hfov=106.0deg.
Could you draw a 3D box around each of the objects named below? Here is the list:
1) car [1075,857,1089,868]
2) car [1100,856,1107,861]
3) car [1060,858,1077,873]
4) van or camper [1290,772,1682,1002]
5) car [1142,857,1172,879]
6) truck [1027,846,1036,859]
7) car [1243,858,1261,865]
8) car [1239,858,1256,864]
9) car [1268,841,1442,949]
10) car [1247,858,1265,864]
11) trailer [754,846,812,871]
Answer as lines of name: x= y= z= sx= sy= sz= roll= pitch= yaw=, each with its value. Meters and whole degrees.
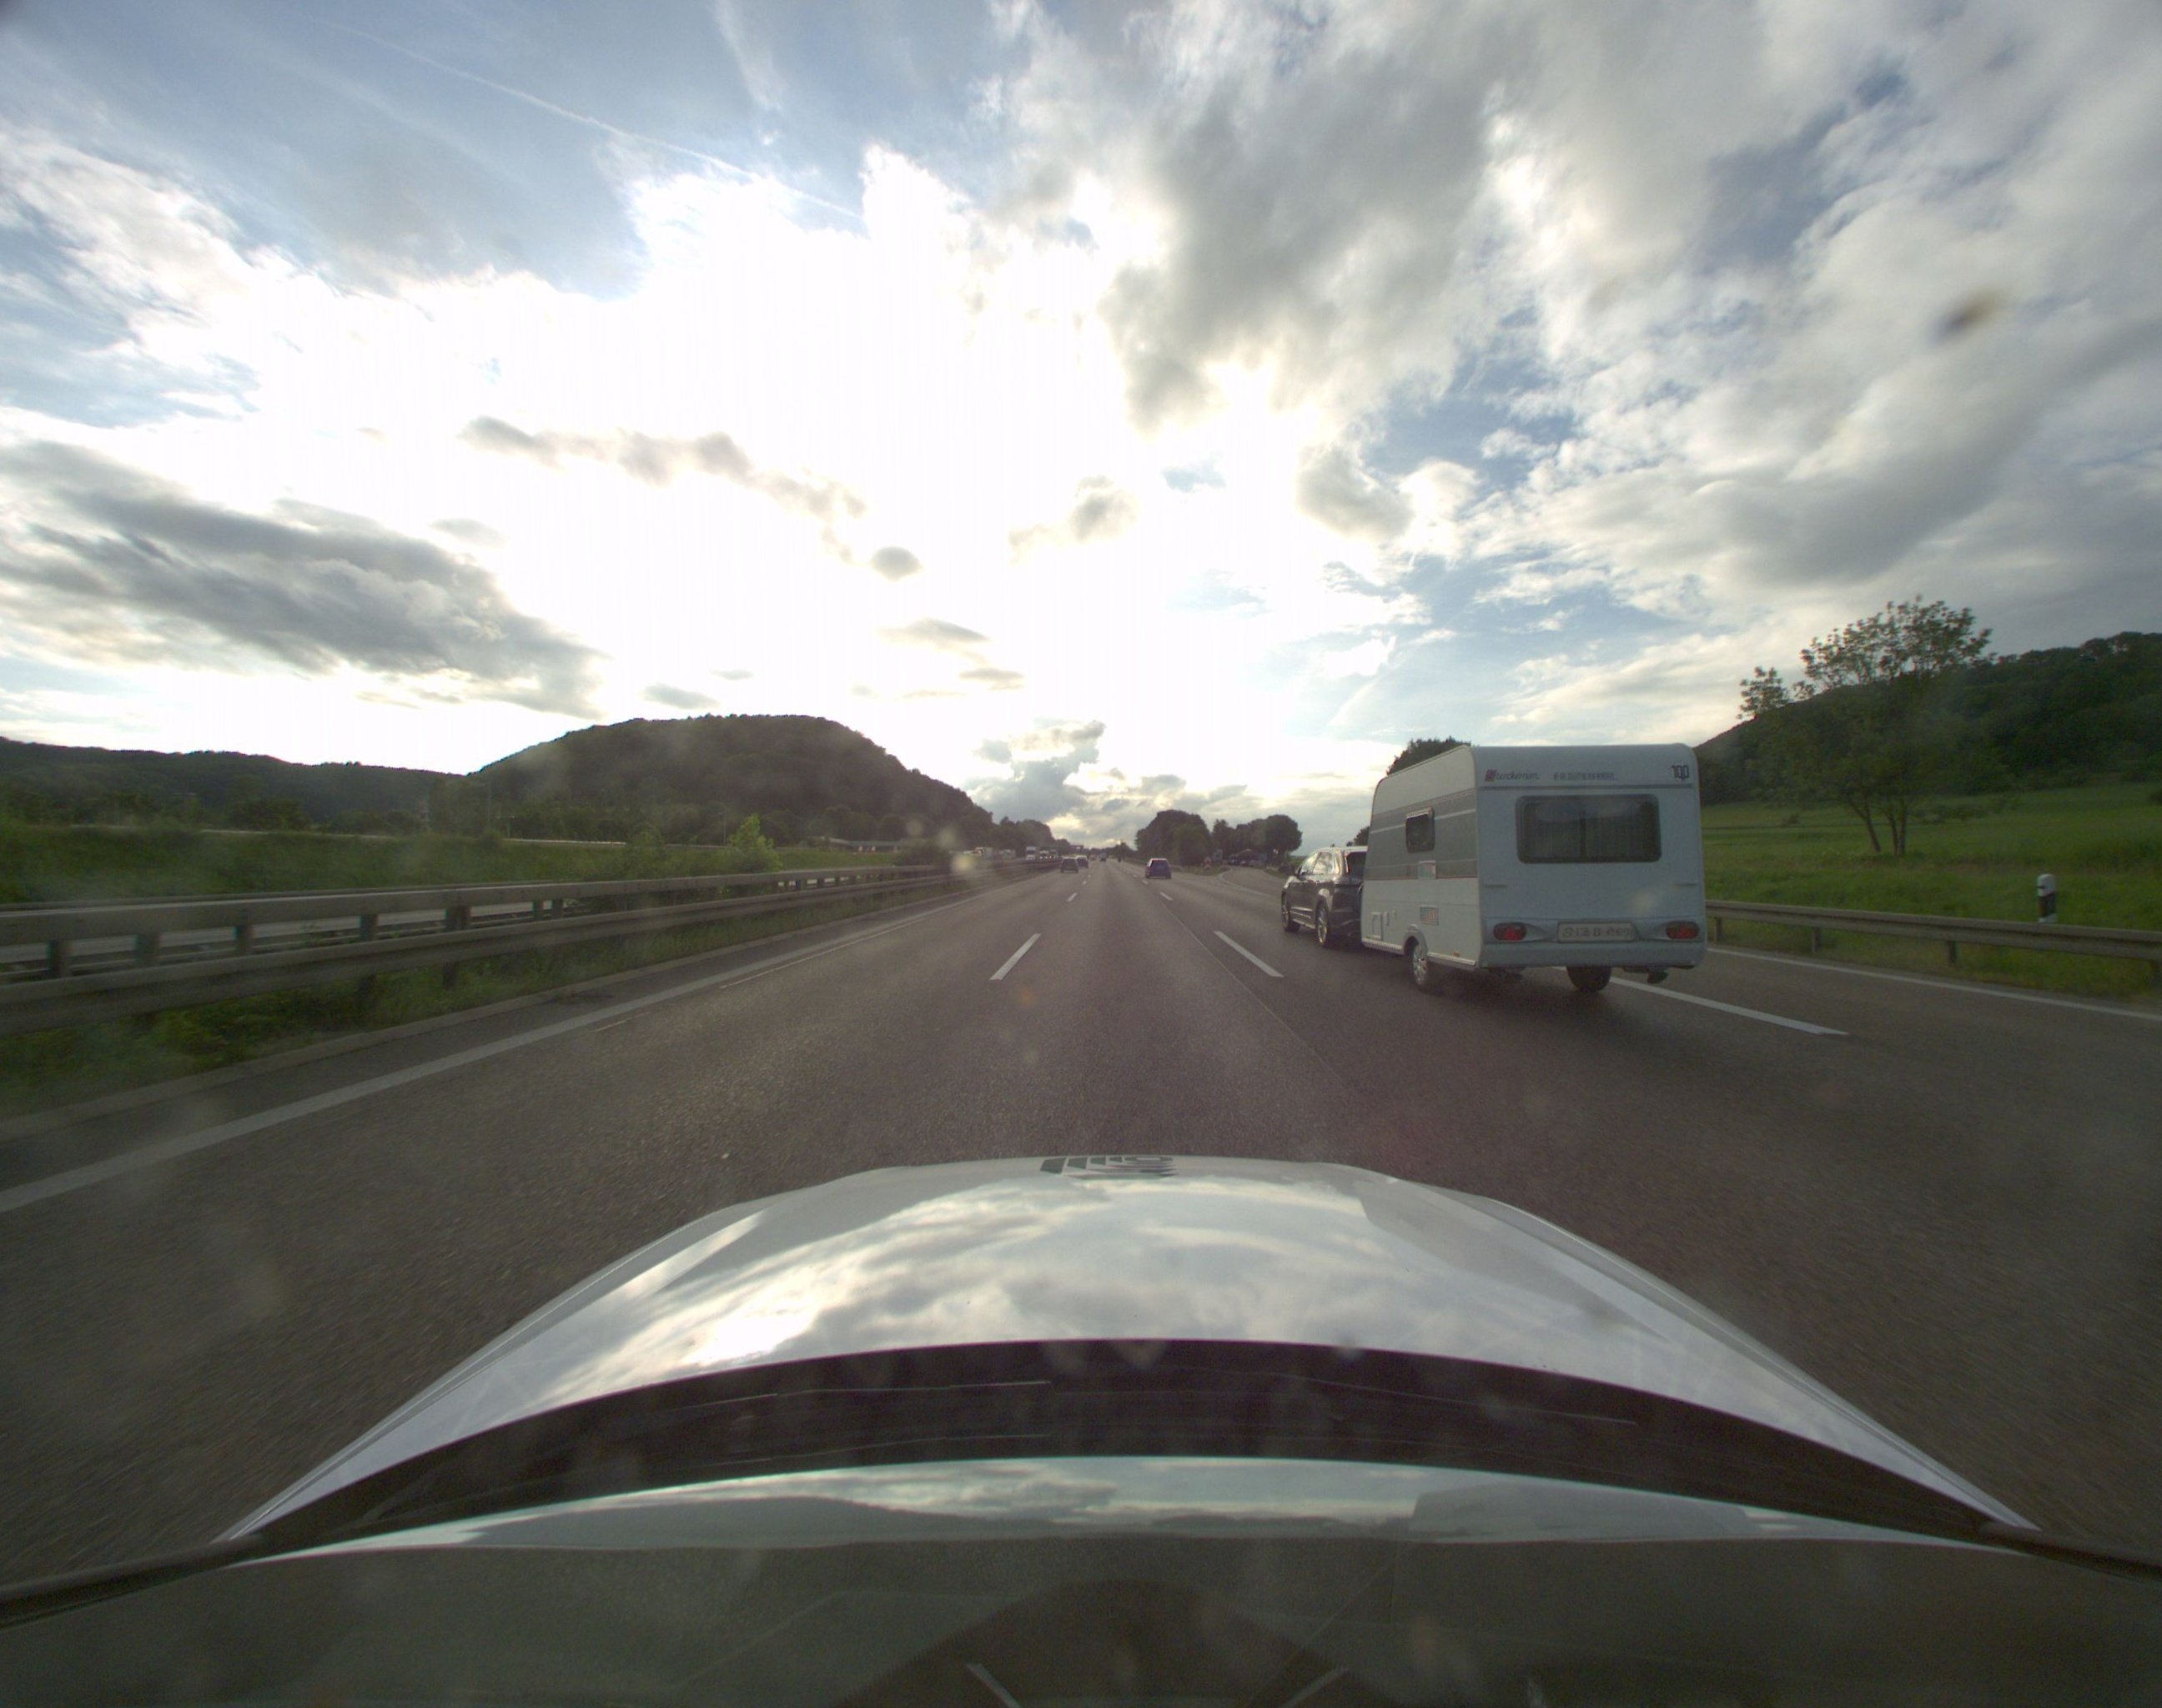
car: x=0.189 y=1.154 z=112.958 sx=1.558 sy=1.380 sz=4.005 roll=-3 pitch=0 yaw=4
car: x=6.627 y=1.250 z=236.474 sx=1.747 sy=1.222 sz=3.996 roll=-3 pitch=0 yaw=-3
car: x=-1.241 y=1.058 z=78.298 sx=1.534 sy=1.348 sz=3.674 roll=-3 pitch=0 yaw=-2
van or camper: x=4.750 y=0.324 z=10.830 sx=2.539 sy=2.239 sz=5.328 roll=-2 pitch=0 yaw=0
car: x=5.428 y=1.001 z=58.438 sx=1.761 sy=1.433 sz=4.000 roll=-2 pitch=0 yaw=1
truck: x=-13.749 y=-0.264 z=227.373 sx=1.987 sy=3.414 sz=6.738 roll=-1 pitch=-1 yaw=0
car: x=42.591 y=1.806 z=202.759 sx=4.331 sy=1.556 sz=1.967 roll=0 pitch=-2 yaw=-39
car: x=43.768 y=1.748 z=214.351 sx=4.331 sy=1.556 sz=1.967 roll=0 pitch=-2 yaw=-39
car: x=4.779 y=0.633 z=14.935 sx=1.780 sy=1.652 sz=4.483 roll=-1 pitch=0 yaw=2
car: x=42.367 y=1.672 z=196.943 sx=4.331 sy=1.556 sz=1.967 roll=0 pitch=-2 yaw=-39
trailer: x=-36.973 y=0.633 z=101.554 sx=2.568 sy=2.853 sz=11.387 roll=-1 pitch=-1 yaw=3
